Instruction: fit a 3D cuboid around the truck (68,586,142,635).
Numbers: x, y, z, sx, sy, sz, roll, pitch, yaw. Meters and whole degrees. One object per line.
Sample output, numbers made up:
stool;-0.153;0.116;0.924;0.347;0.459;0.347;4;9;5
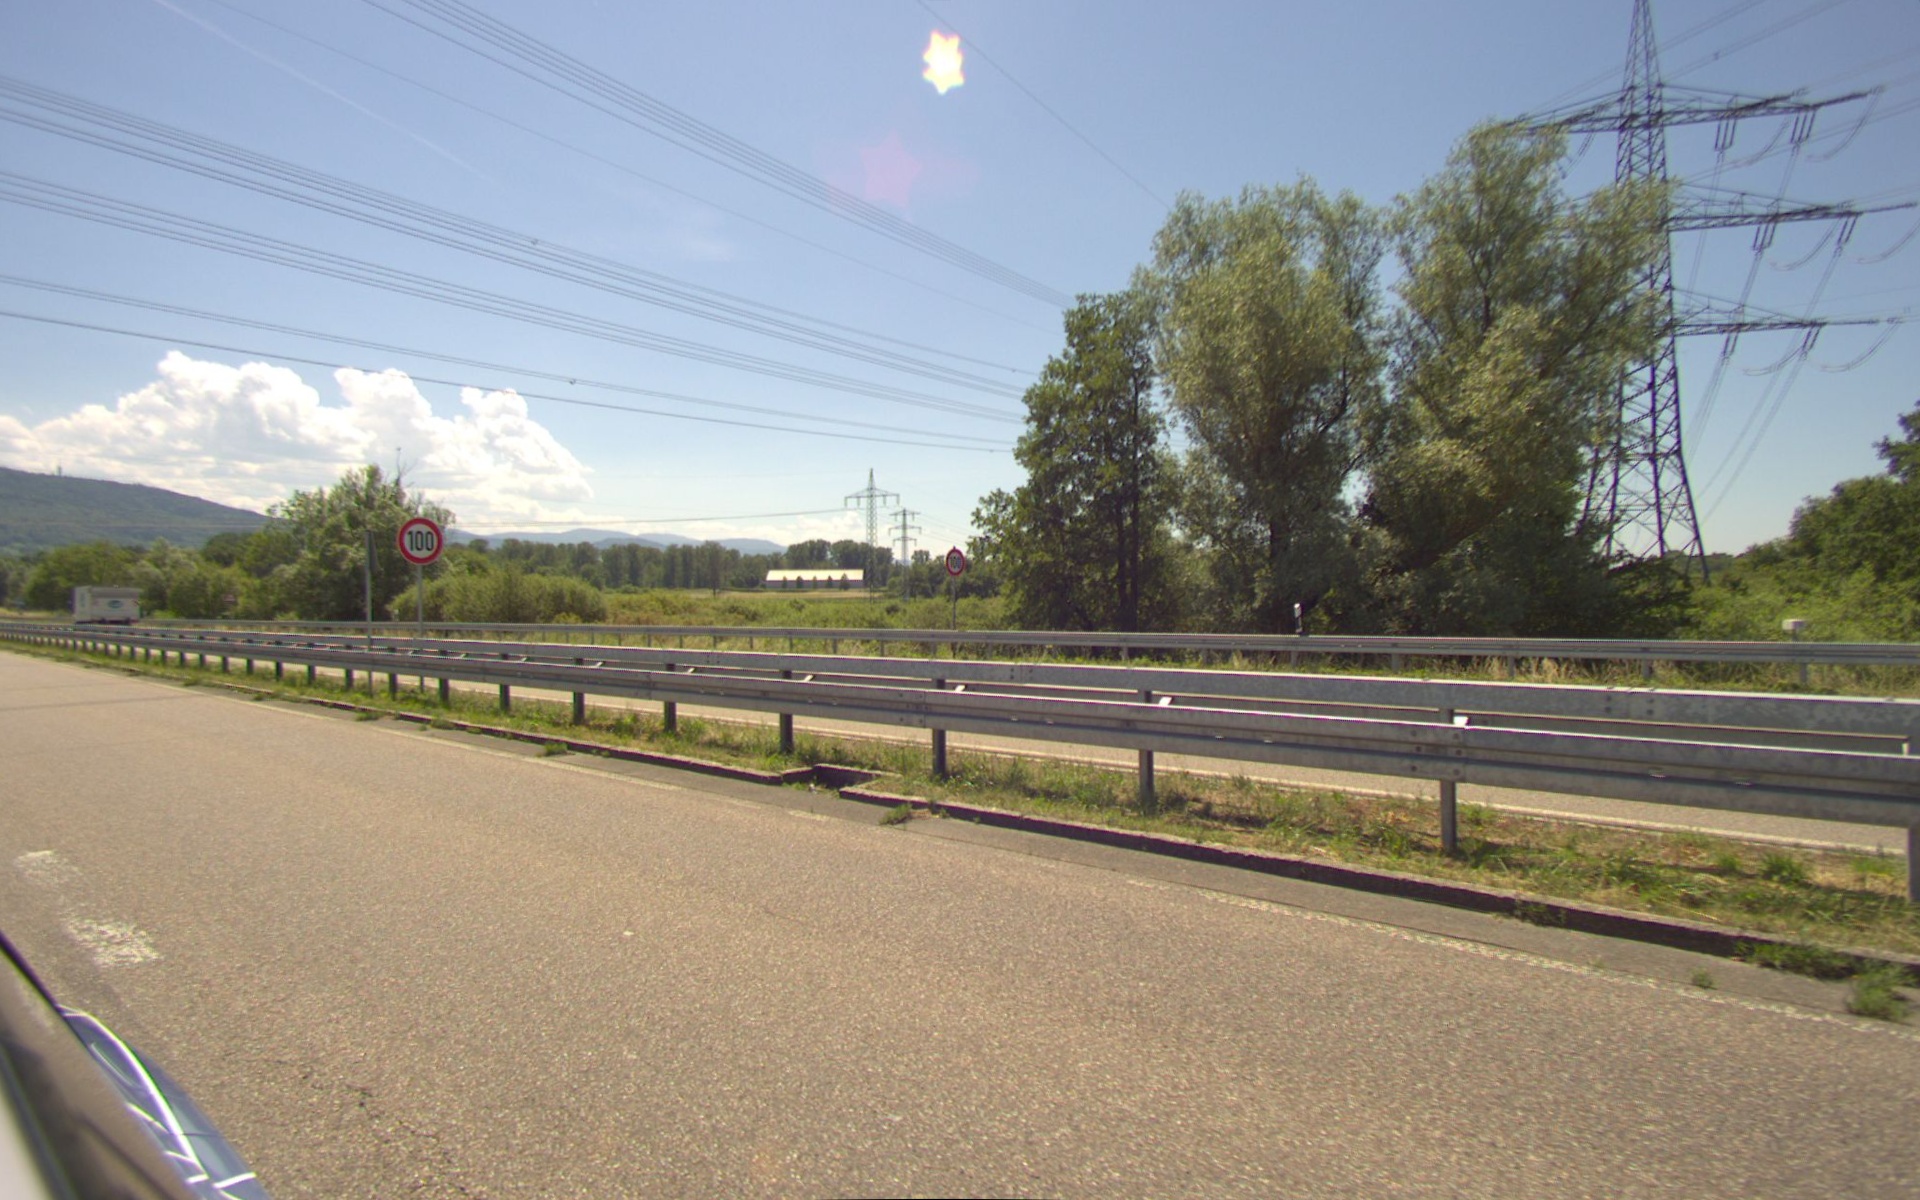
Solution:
truck;-58.757;0.721;69.469;8.401;3.217;2.690;-1;-1;41
